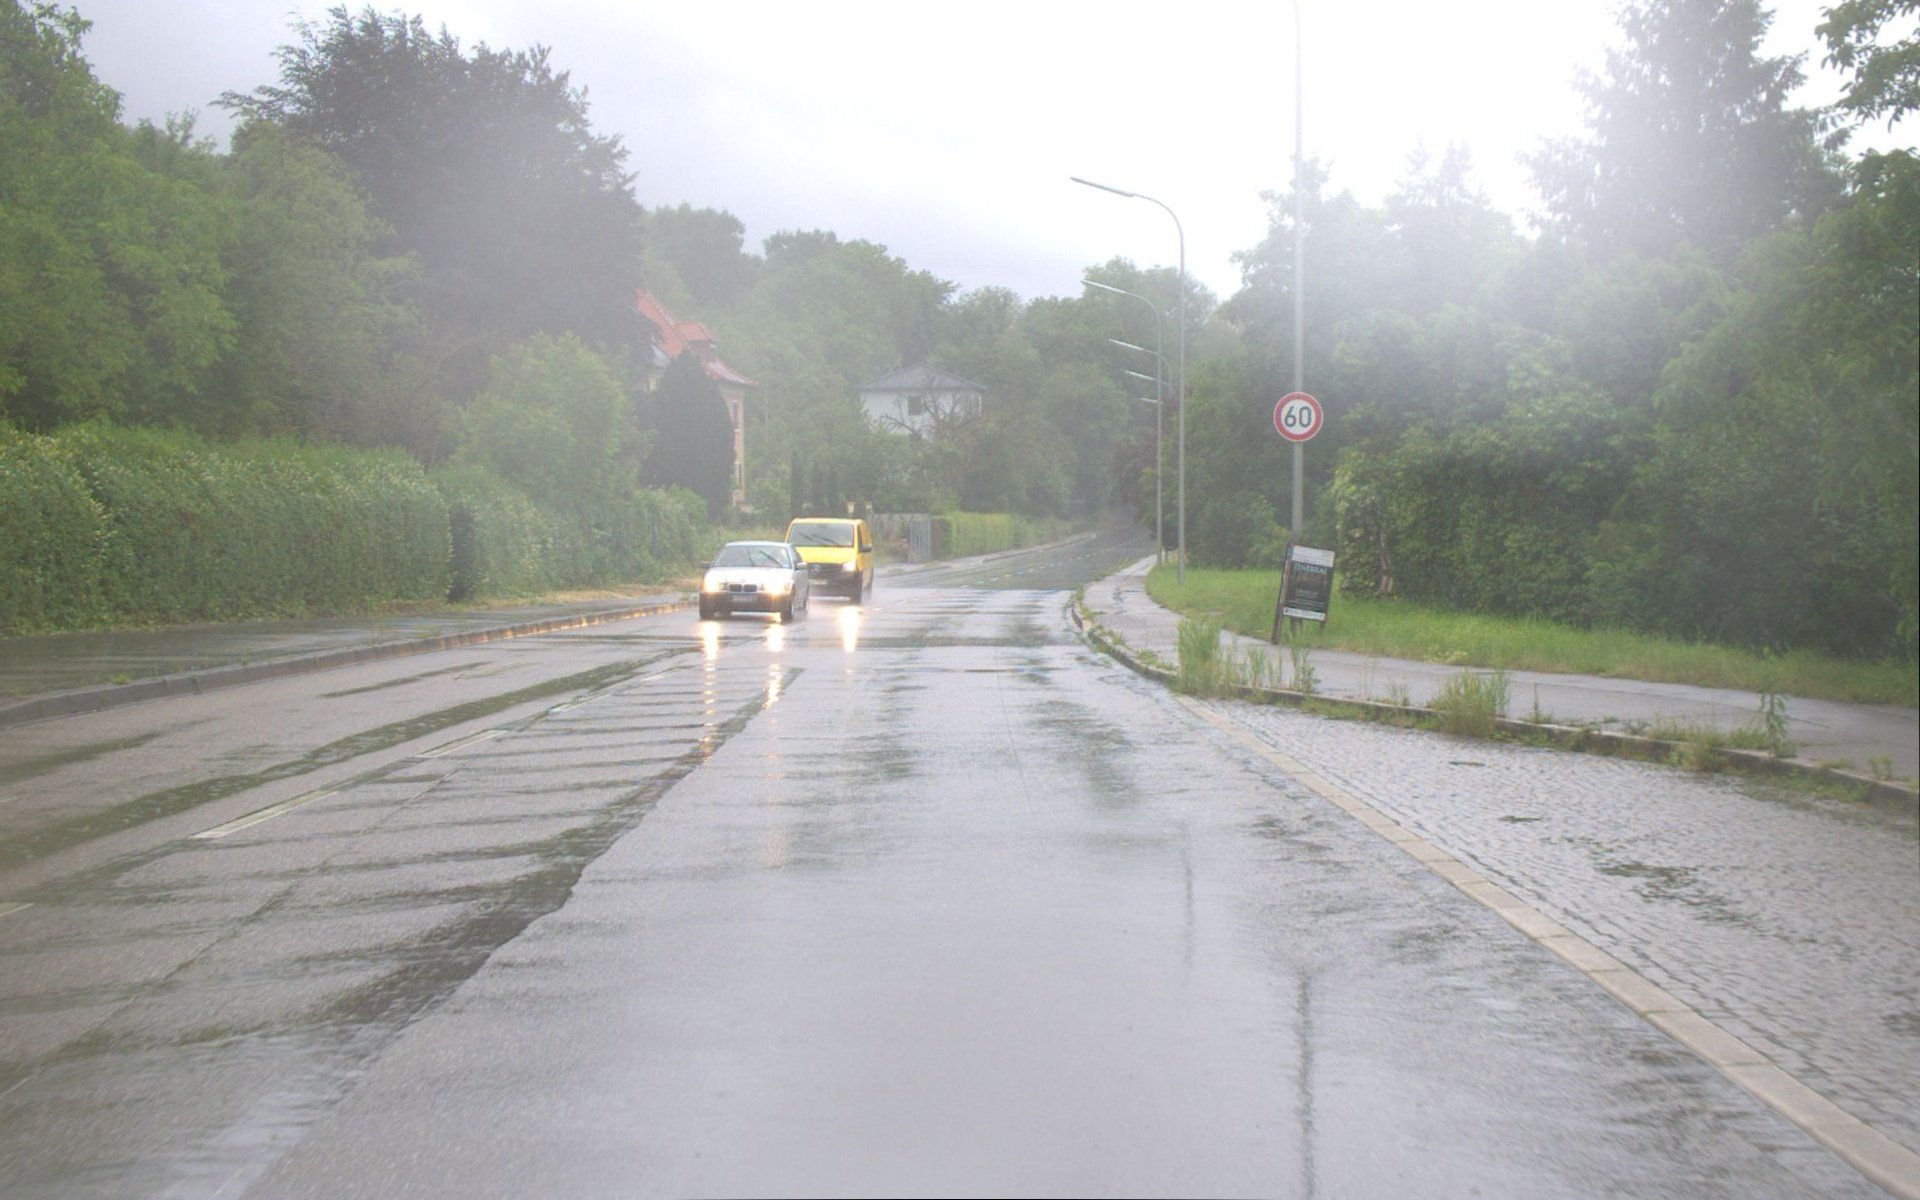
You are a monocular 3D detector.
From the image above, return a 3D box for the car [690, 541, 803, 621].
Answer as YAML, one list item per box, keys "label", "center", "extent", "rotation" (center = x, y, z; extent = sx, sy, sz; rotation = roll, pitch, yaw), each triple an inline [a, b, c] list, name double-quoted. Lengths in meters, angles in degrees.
- label: "car"
  center: [-3.763, -0.363, 61.167]
  extent: [1.701, 1.345, 3.905]
  rotation: [1, 1, 1]

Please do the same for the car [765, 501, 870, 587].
- label: "car"
  center: [-3.196, -1.280, 77.992]
  extent: [1.937, 1.865, 5.036]
  rotation: [1, 1, 3]
